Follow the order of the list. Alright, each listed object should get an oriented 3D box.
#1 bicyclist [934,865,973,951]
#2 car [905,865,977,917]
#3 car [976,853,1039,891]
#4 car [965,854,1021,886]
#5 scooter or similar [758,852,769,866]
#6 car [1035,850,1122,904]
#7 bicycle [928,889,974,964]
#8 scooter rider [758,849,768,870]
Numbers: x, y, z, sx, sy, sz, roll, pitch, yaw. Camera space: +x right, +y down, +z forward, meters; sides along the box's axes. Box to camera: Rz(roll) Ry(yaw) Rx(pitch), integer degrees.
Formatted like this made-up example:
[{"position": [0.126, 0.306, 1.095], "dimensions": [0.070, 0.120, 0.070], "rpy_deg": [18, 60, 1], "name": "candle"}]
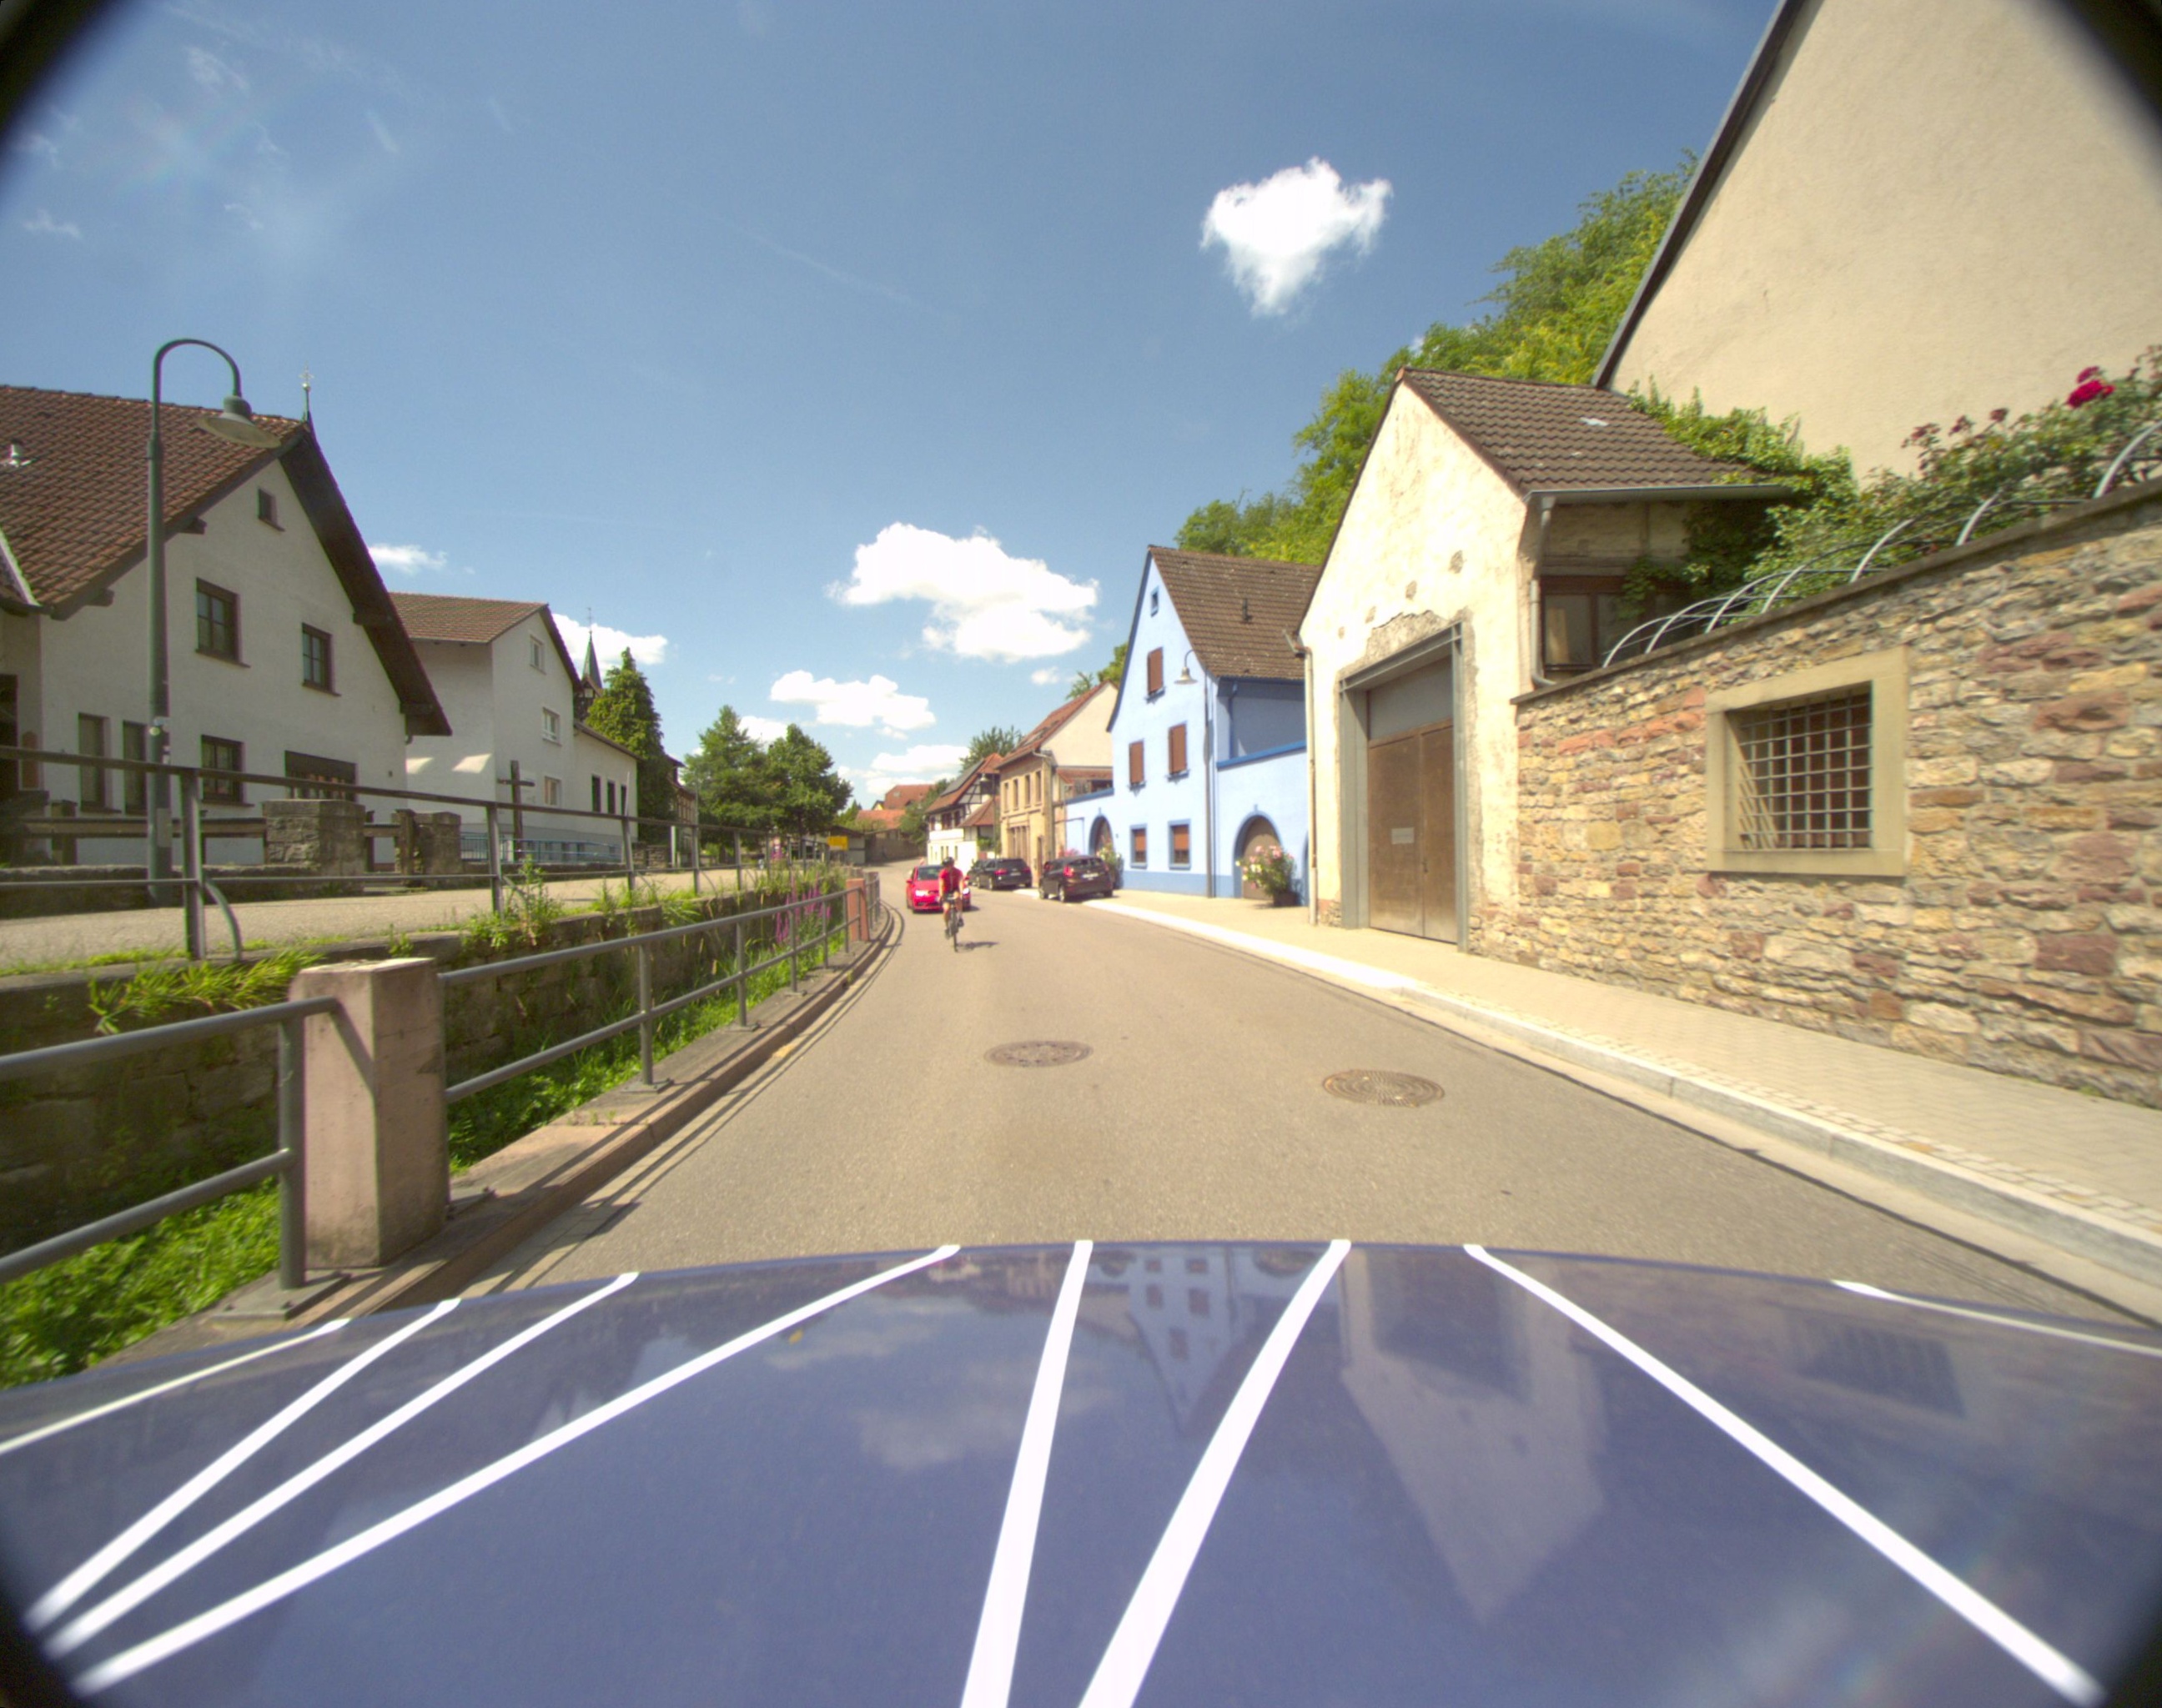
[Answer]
[{"position": [-2.168, 0.895, 12.981], "dimensions": [0.532, 1.396, 0.755], "rpy_deg": [-3, 0, -5], "name": "bicyclist"}, {"position": [-4.315, 1.060, 23.064], "dimensions": [1.672, 1.344, 3.488], "rpy_deg": [-2, 1, -18], "name": "car"}, {"position": [-3.499, 0.799, 35.169], "dimensions": [1.892, 1.455, 4.661], "rpy_deg": [-5, 1, -17], "name": "car"}, {"position": [-4.704, 0.815, 40.105], "dimensions": [1.965, 1.457, 4.537], "rpy_deg": [-2, 1, -20], "name": "car"}, {"position": [-26.289, 0.410, 62.945], "dimensions": [0.644, 1.135, 1.808], "rpy_deg": [0, 1, -18], "name": "scooter or similar"}, {"position": [-0.172, 0.717, 25.440], "dimensions": [1.723, 1.521, 3.850], "rpy_deg": [-5, 1, -18], "name": "car"}, {"position": [-2.151, 1.167, 12.790], "dimensions": [0.531, 1.070, 2.053], "rpy_deg": [-3, 0, -5], "name": "bicycle"}, {"position": [-26.287, 0.423, 62.892], "dimensions": [0.644, 1.722, 0.553], "rpy_deg": [-2, 2, -18], "name": "scooter rider"}]
